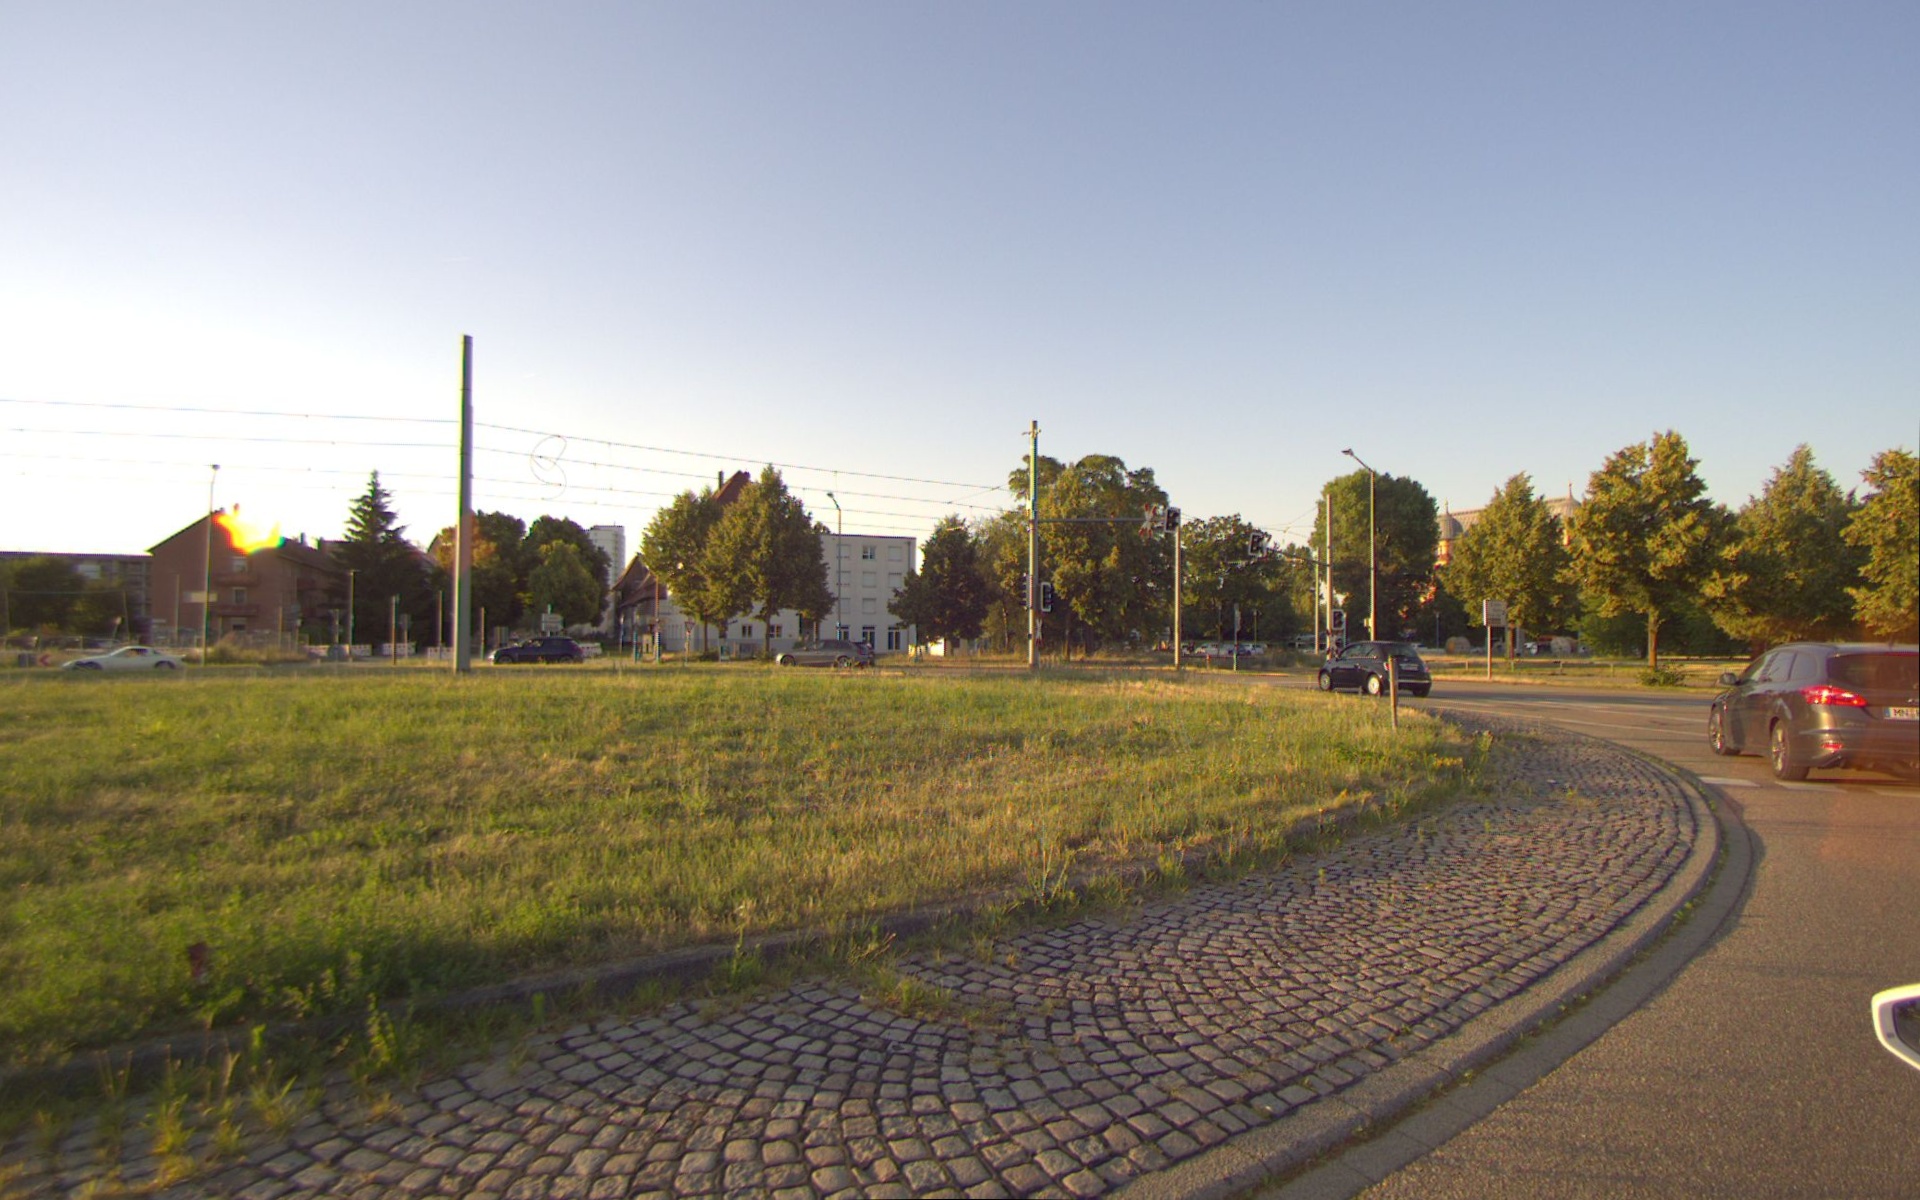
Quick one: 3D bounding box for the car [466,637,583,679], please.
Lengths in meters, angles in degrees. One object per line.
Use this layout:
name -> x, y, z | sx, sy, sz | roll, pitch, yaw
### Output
car -> -19.203, 2.530, 44.504 | 4.520, 1.770, 1.746 | 0, -2, -15

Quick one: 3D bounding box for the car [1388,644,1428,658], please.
car -> 53.313, 6.046, 119.580 | 1.973, 1.571, 3.976 | 1, -2, -25

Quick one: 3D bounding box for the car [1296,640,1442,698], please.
car -> 11.461, 1.896, 28.471 | 1.722, 1.465, 4.123 | 0, -2, -14

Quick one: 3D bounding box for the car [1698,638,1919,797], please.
car -> 9.972, 1.194, 11.450 | 1.719, 1.486, 4.131 | -1, -2, 25

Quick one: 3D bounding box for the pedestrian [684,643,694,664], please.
pedestrian -> -21.108, 4.155, 78.216 | 0.587, 1.642, 0.563 | 0, -2, -28

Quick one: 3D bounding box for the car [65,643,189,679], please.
car -> -33.786, 2.437, 40.808 | 1.558, 1.272, 3.758 | 0, -1, 43

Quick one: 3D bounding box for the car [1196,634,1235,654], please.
car -> 27.442, 4.749, 108.008 | 1.972, 2.126, 3.977 | 1, -2, -24

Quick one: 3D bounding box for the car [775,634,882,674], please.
car -> -5.947, 2.424, 45.672 | 4.504, 1.770, 1.753 | -1, -2, 14

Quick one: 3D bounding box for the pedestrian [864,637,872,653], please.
pedestrian -> -8.019, 3.937, 87.584 | 0.541, 1.392, 0.355 | 1, -2, -30

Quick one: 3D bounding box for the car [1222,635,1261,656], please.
car -> 30.529, 4.924, 108.977 | 1.972, 2.126, 3.977 | 1, -2, -24
